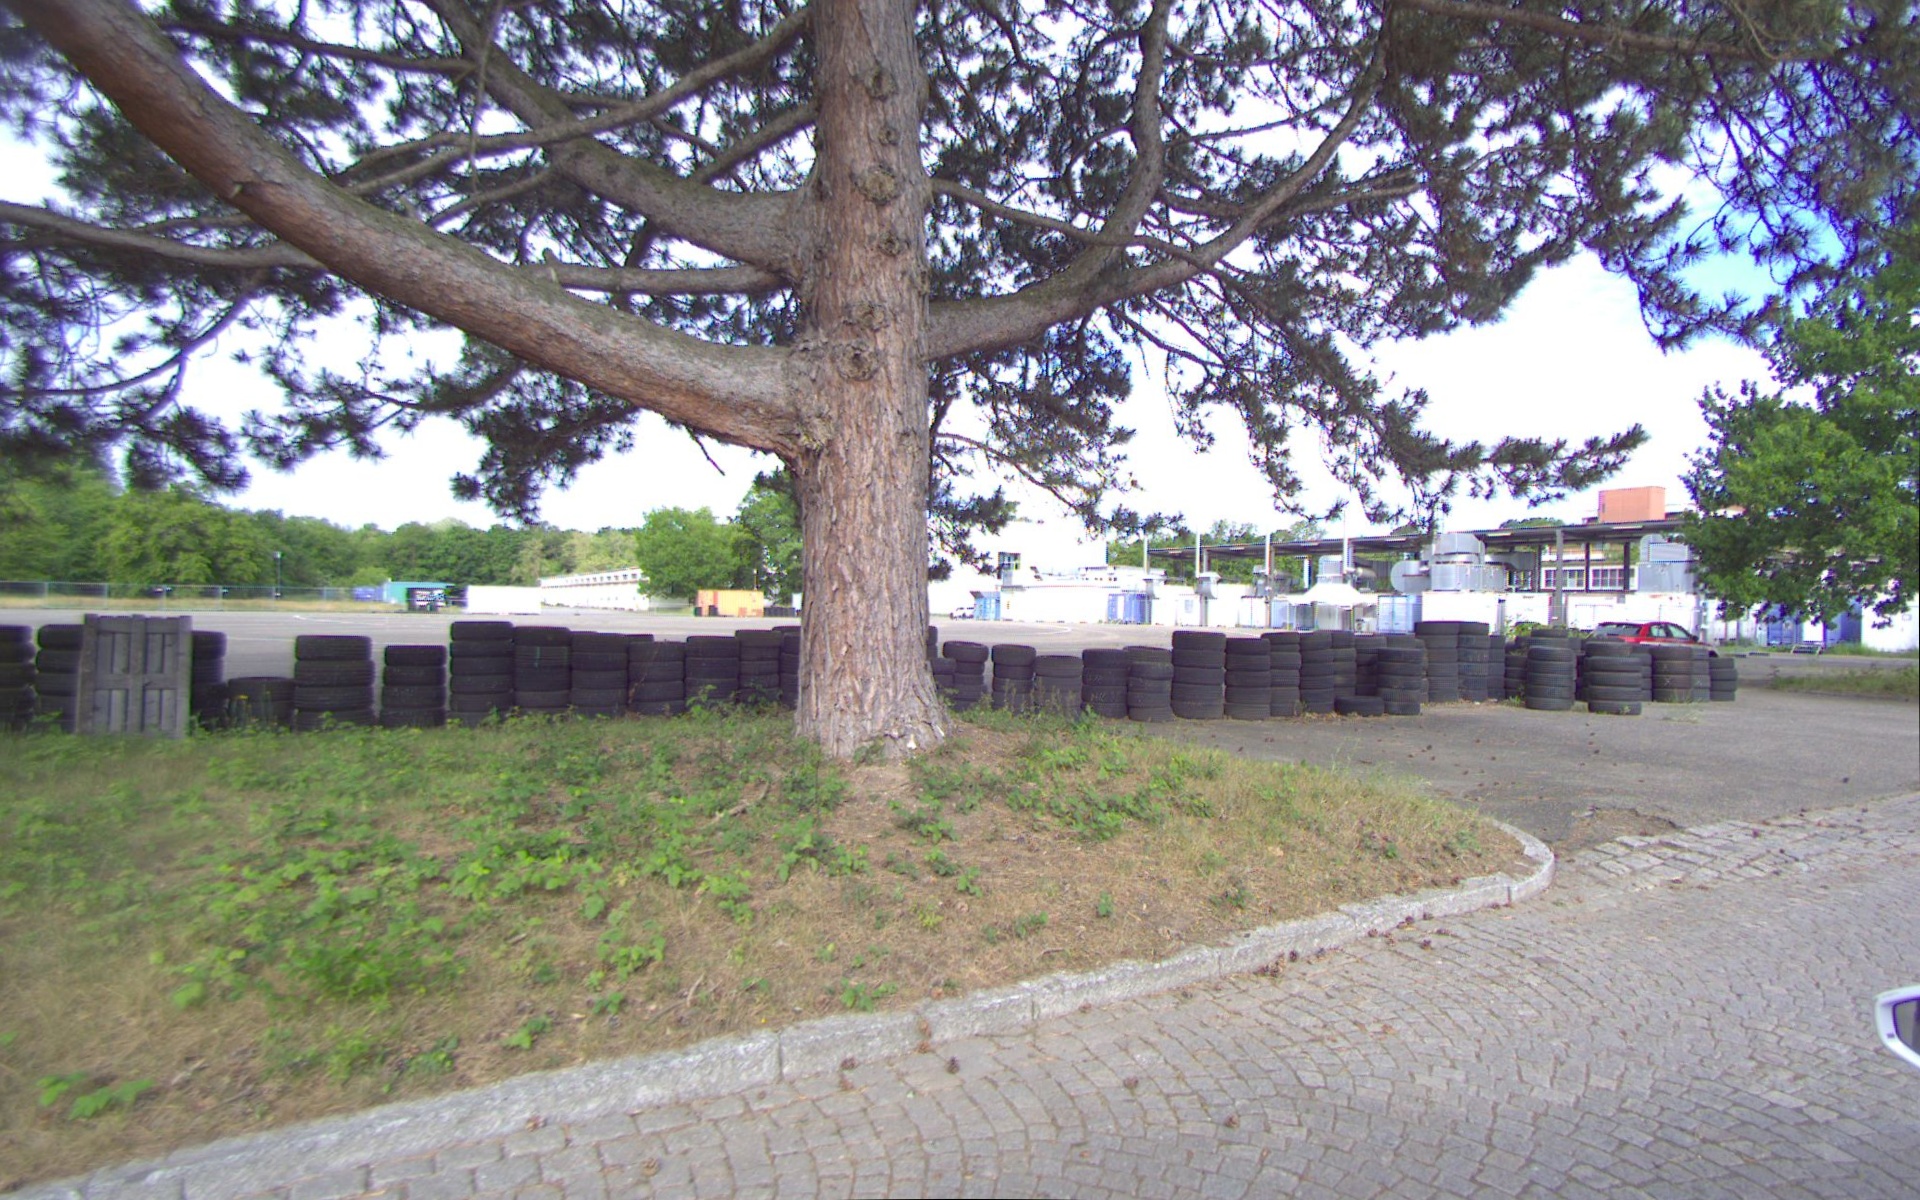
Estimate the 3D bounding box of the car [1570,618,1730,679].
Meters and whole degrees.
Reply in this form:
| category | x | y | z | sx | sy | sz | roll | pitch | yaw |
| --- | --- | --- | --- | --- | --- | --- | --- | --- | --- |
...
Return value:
| category | x | y | z | sx | sy | sz | roll | pitch | yaw |
| --- | --- | --- | --- | --- | --- | --- | --- | --- | --- |
| car | 17.801 | 1.201 | 25.899 | 4.008 | 1.452 | 1.621 | 1 | 0 | -25 |

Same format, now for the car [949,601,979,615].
| category | x | y | z | sx | sy | sz | roll | pitch | yaw |
| --- | --- | --- | --- | --- | --- | --- | --- | --- | --- |
| car | 0.477 | 0.948 | 120.319 | 1.808 | 1.655 | 4.087 | 1 | 0 | -29 |
